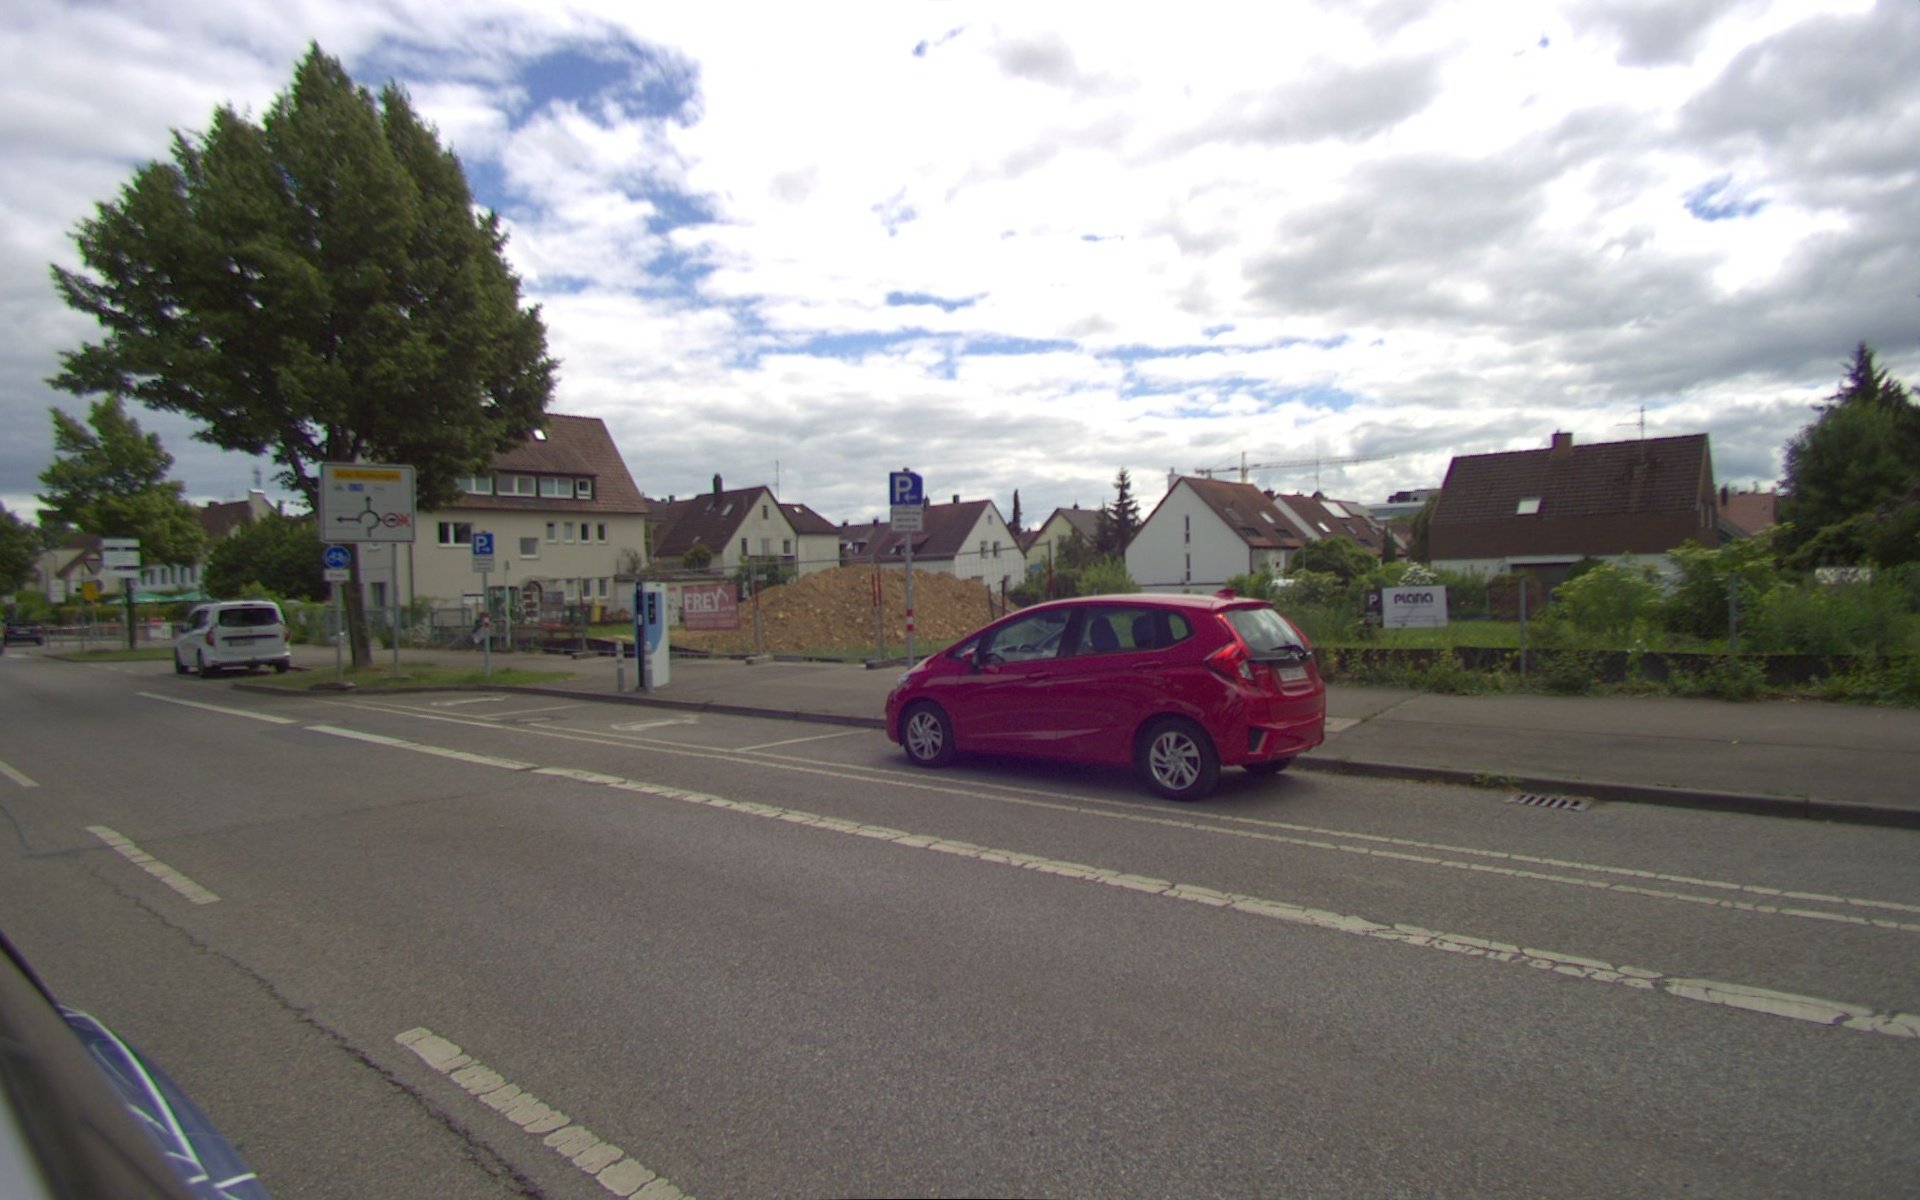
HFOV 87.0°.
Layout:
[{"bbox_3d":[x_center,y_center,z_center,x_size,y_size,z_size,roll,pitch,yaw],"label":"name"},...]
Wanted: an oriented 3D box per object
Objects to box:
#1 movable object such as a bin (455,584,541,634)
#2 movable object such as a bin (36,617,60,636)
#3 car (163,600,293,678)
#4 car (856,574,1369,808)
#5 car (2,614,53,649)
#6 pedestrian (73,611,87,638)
[{"bbox_3d":[-21.633,0.414,47.336,4.356,2.204,1.878,-1,0,38],"label":"movable object such as a bin"},{"bbox_3d":[-71.089,2.079,78.876,2.721,1.427,0.971,-2,1,41],"label":"movable object such as a bin"},{"bbox_3d":[-18.739,0.943,25.832,4.550,1.784,1.752,-1,0,42],"label":"car"},{"bbox_3d":[1.125,0.631,8.740,4.131,1.552,1.667,-1,0,42],"label":"car"},{"bbox_3d":[-50.165,1.658,54.412,1.899,1.767,4.003,-2,1,-44],"label":"car"},{"bbox_3d":[-60.482,1.677,69.563,0.628,1.840,0.568,-3,1,-39],"label":"pedestrian"}]
